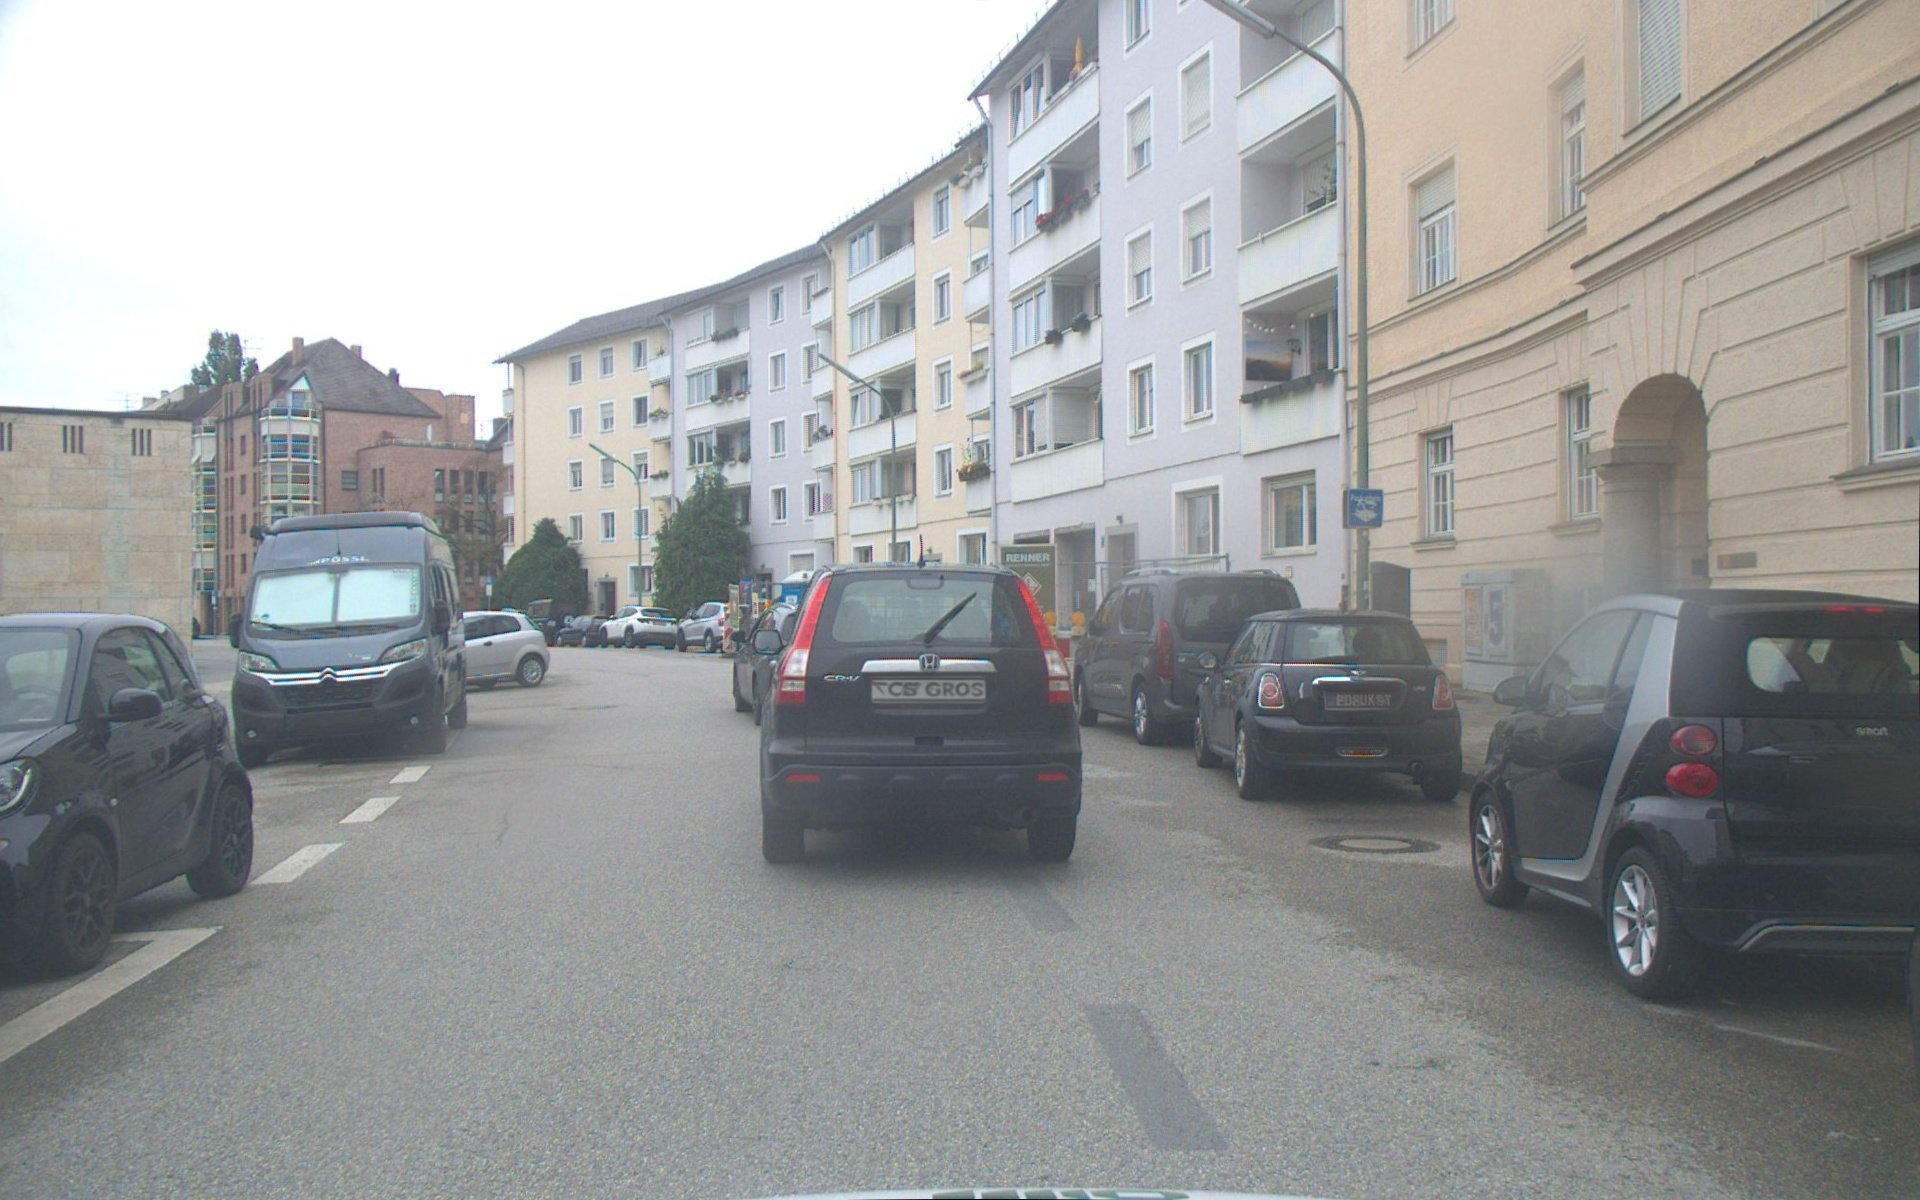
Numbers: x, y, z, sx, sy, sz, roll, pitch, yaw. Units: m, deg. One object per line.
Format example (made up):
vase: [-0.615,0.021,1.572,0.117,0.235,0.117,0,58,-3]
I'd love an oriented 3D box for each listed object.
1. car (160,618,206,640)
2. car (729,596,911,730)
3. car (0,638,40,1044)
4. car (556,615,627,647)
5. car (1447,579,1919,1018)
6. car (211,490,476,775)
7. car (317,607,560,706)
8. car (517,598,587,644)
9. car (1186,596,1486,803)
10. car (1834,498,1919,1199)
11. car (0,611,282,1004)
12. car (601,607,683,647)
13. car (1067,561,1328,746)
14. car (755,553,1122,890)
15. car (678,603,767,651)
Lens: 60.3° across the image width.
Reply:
car: [-54.535,2.014,116.110,1.799,1.498,4.052,0,0,-43]
car: [-1.880,0.729,20.997,1.651,1.507,4.070,0,0,-15]
car: [-4.093,0.888,3.856,1.765,1.430,4.449,-2,0,-6]
car: [-15.133,1.260,67.891,1.683,1.258,3.559,0,0,-34]
car: [3.394,0.719,7.458,1.503,1.550,3.111,1,0,1]
car: [-6.816,0.290,18.962,2.128,2.688,5.994,-2,0,-14]
car: [-9.746,1.032,31.161,1.652,1.507,4.068,-5,-1,38]
car: [-17.739,0.895,71.826,1.709,1.911,3.952,0,0,-34]
car: [2.988,0.729,13.896,1.673,1.472,3.830,1,0,1]
car: [3.180,0.639,1.829,1.831,1.747,4.865,1,0,0]
car: [-4.562,0.854,7.898,1.638,1.528,2.973,-2,0,-6]
car: [-12.318,1.018,63.918,1.709,1.509,3.952,0,0,-34]
car: [2.540,0.550,18.754,1.745,1.838,4.267,1,0,-9]
car: [-0.305,0.611,10.348,1.854,1.676,3.986,0,0,-6]
car: [-7.956,0.869,55.215,1.705,1.509,3.963,0,0,-28]
